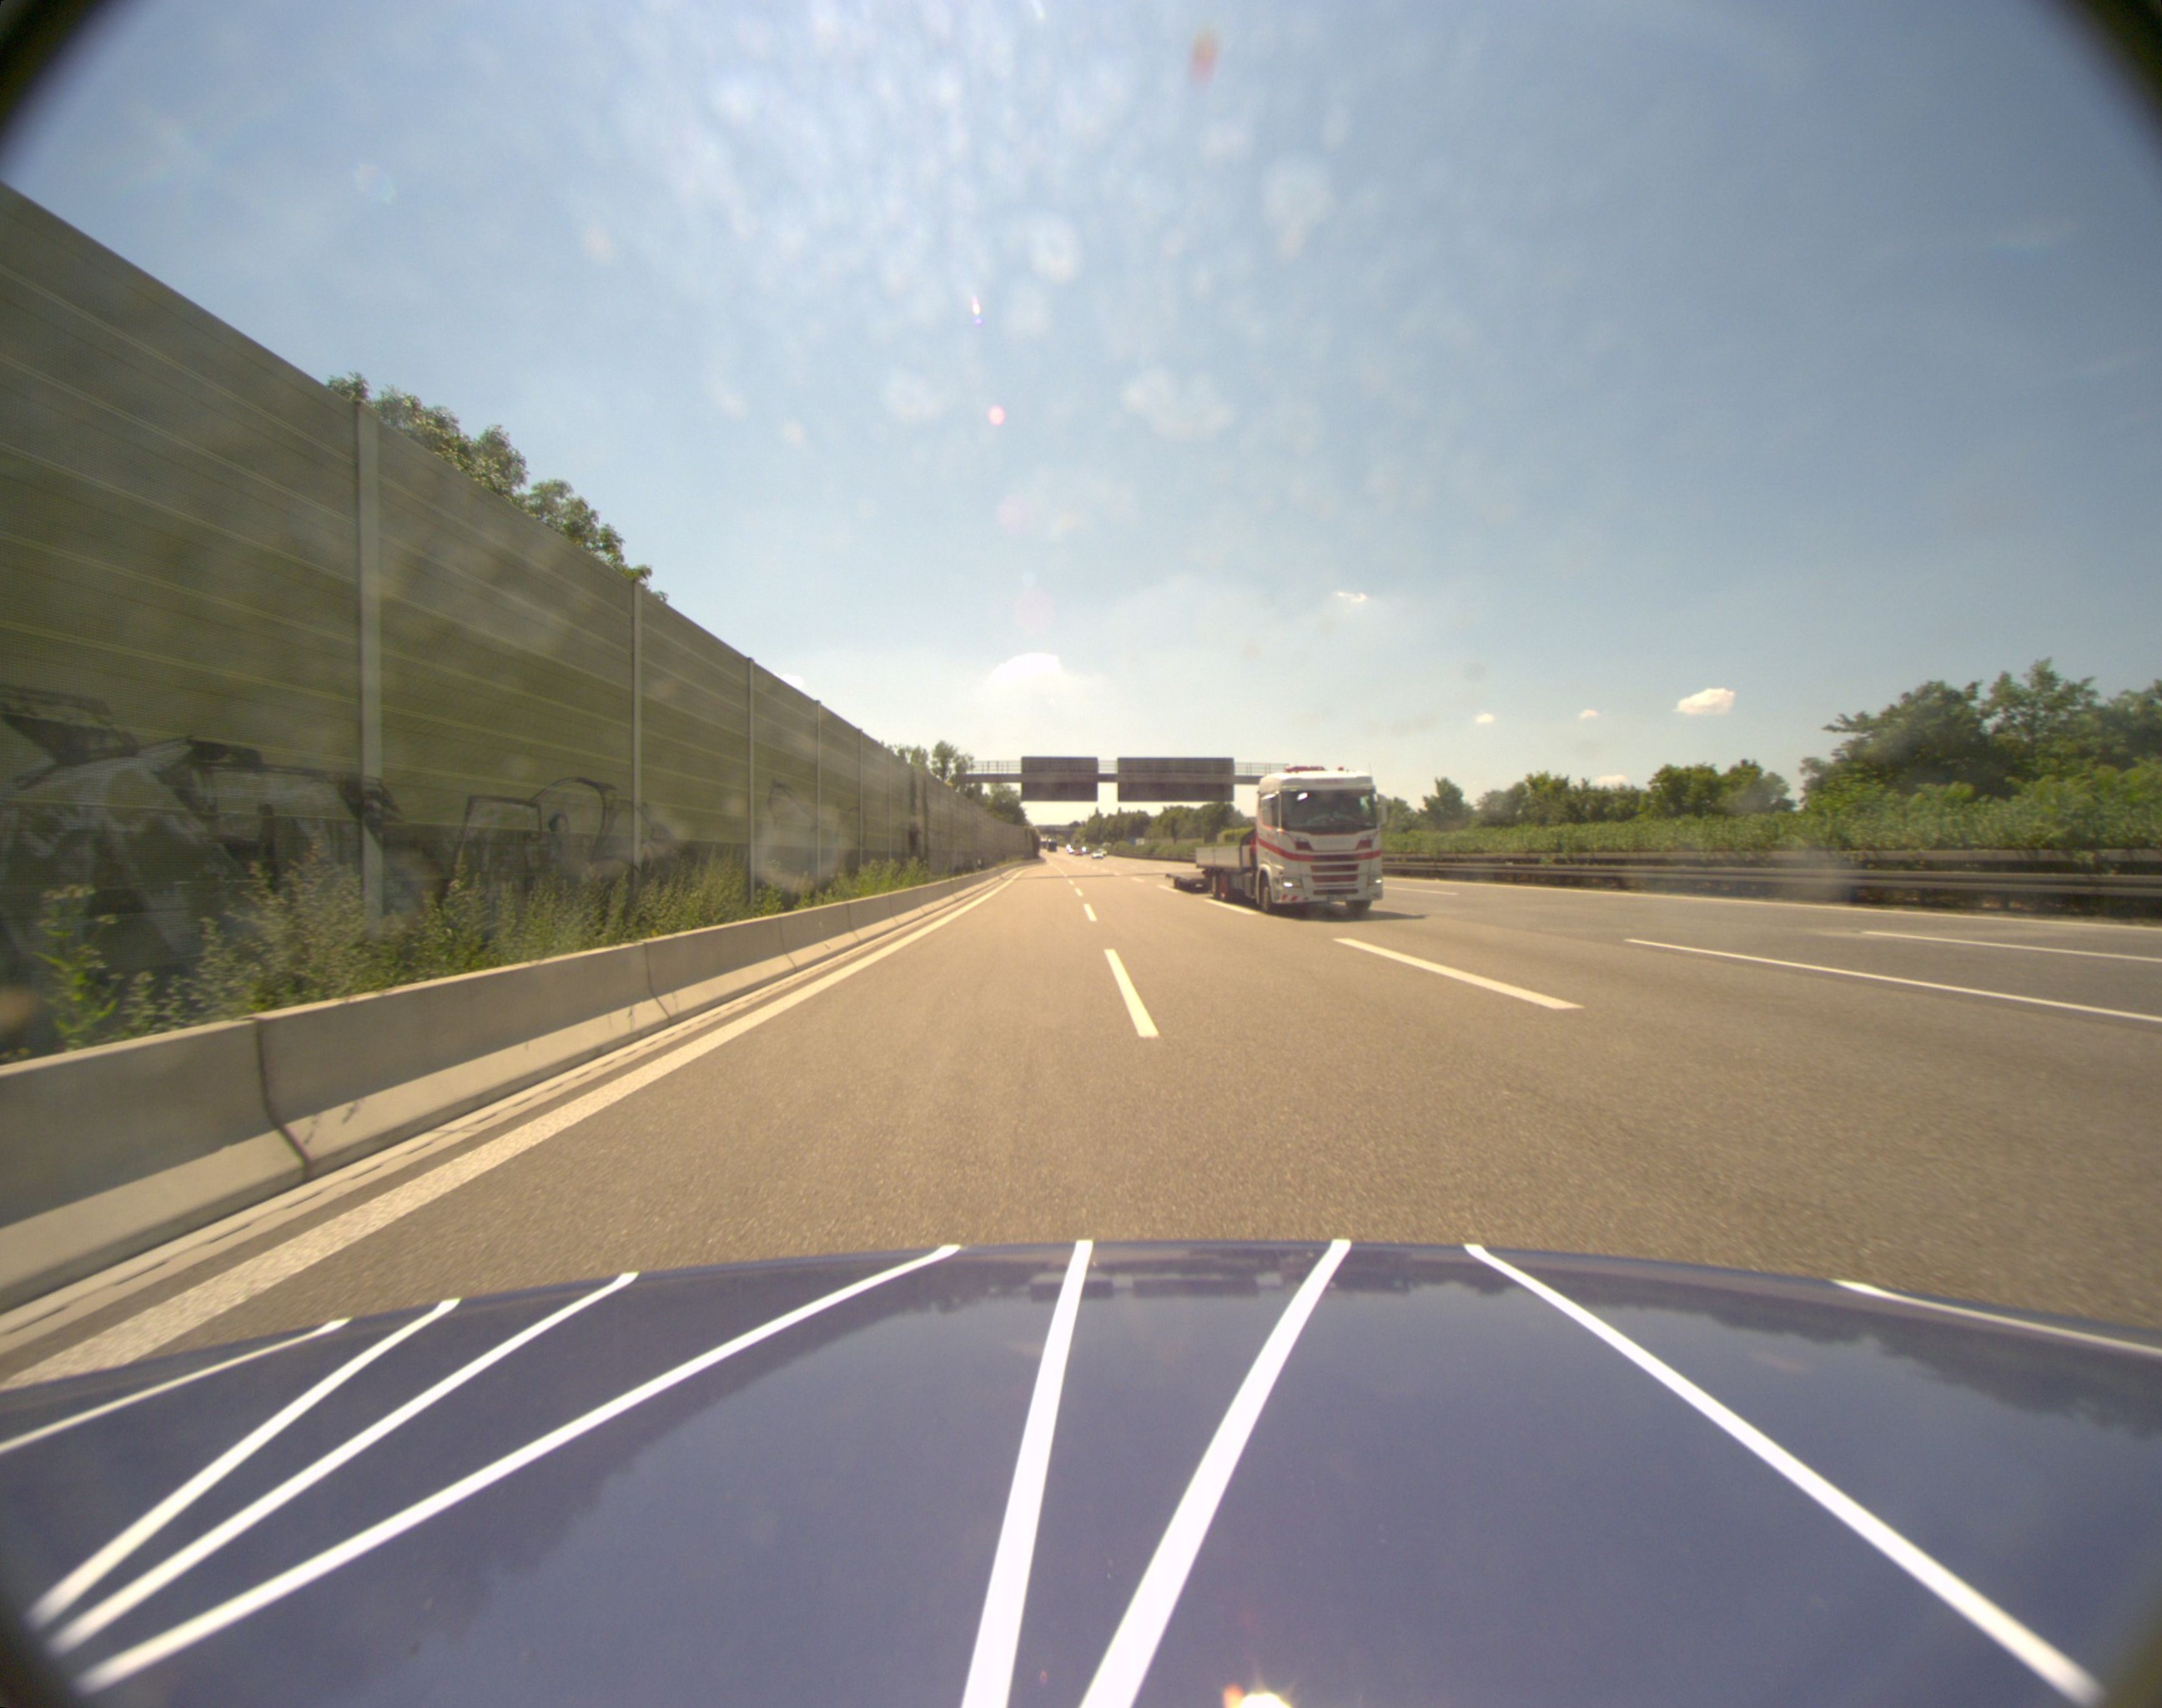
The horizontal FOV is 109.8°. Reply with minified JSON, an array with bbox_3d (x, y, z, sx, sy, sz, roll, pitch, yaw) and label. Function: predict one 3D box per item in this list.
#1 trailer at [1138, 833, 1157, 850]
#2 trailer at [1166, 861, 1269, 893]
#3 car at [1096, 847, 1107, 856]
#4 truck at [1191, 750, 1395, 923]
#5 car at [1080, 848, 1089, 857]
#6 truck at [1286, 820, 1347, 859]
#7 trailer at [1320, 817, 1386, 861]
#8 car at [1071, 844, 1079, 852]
[{"bbox_3d":[17.223,-3.215,197.698,2.612,4.110,14.222,-1,1,-4],"label":"trailer"},{"bbox_3d":[5.404,0.868,31.478,2.721,0.929,7.757,-2,1,-1],"label":"trailer"},{"bbox_3d":[3.671,-0.422,137.353,1.787,1.494,4.169,-1,1,-3],"label":"car"},{"bbox_3d":[5.512,-0.444,22.258,2.721,3.780,10.669,-2,1,-1],"label":"truck"},{"bbox_3d":[0.764,-0.317,177.405,1.998,1.832,4.000,-2,0,0],"label":"car"},{"bbox_3d":[25.800,-1.504,83.889,3.010,3.944,10.317,-2,1,-3],"label":"truck"},{"bbox_3d":[26.460,-1.422,74.414,2.931,3.944,8.655,-2,1,-3],"label":"trailer"},{"bbox_3d":[-1.671,-1.541,201.115,1.998,1.832,4.000,-2,0,0],"label":"car"}]
